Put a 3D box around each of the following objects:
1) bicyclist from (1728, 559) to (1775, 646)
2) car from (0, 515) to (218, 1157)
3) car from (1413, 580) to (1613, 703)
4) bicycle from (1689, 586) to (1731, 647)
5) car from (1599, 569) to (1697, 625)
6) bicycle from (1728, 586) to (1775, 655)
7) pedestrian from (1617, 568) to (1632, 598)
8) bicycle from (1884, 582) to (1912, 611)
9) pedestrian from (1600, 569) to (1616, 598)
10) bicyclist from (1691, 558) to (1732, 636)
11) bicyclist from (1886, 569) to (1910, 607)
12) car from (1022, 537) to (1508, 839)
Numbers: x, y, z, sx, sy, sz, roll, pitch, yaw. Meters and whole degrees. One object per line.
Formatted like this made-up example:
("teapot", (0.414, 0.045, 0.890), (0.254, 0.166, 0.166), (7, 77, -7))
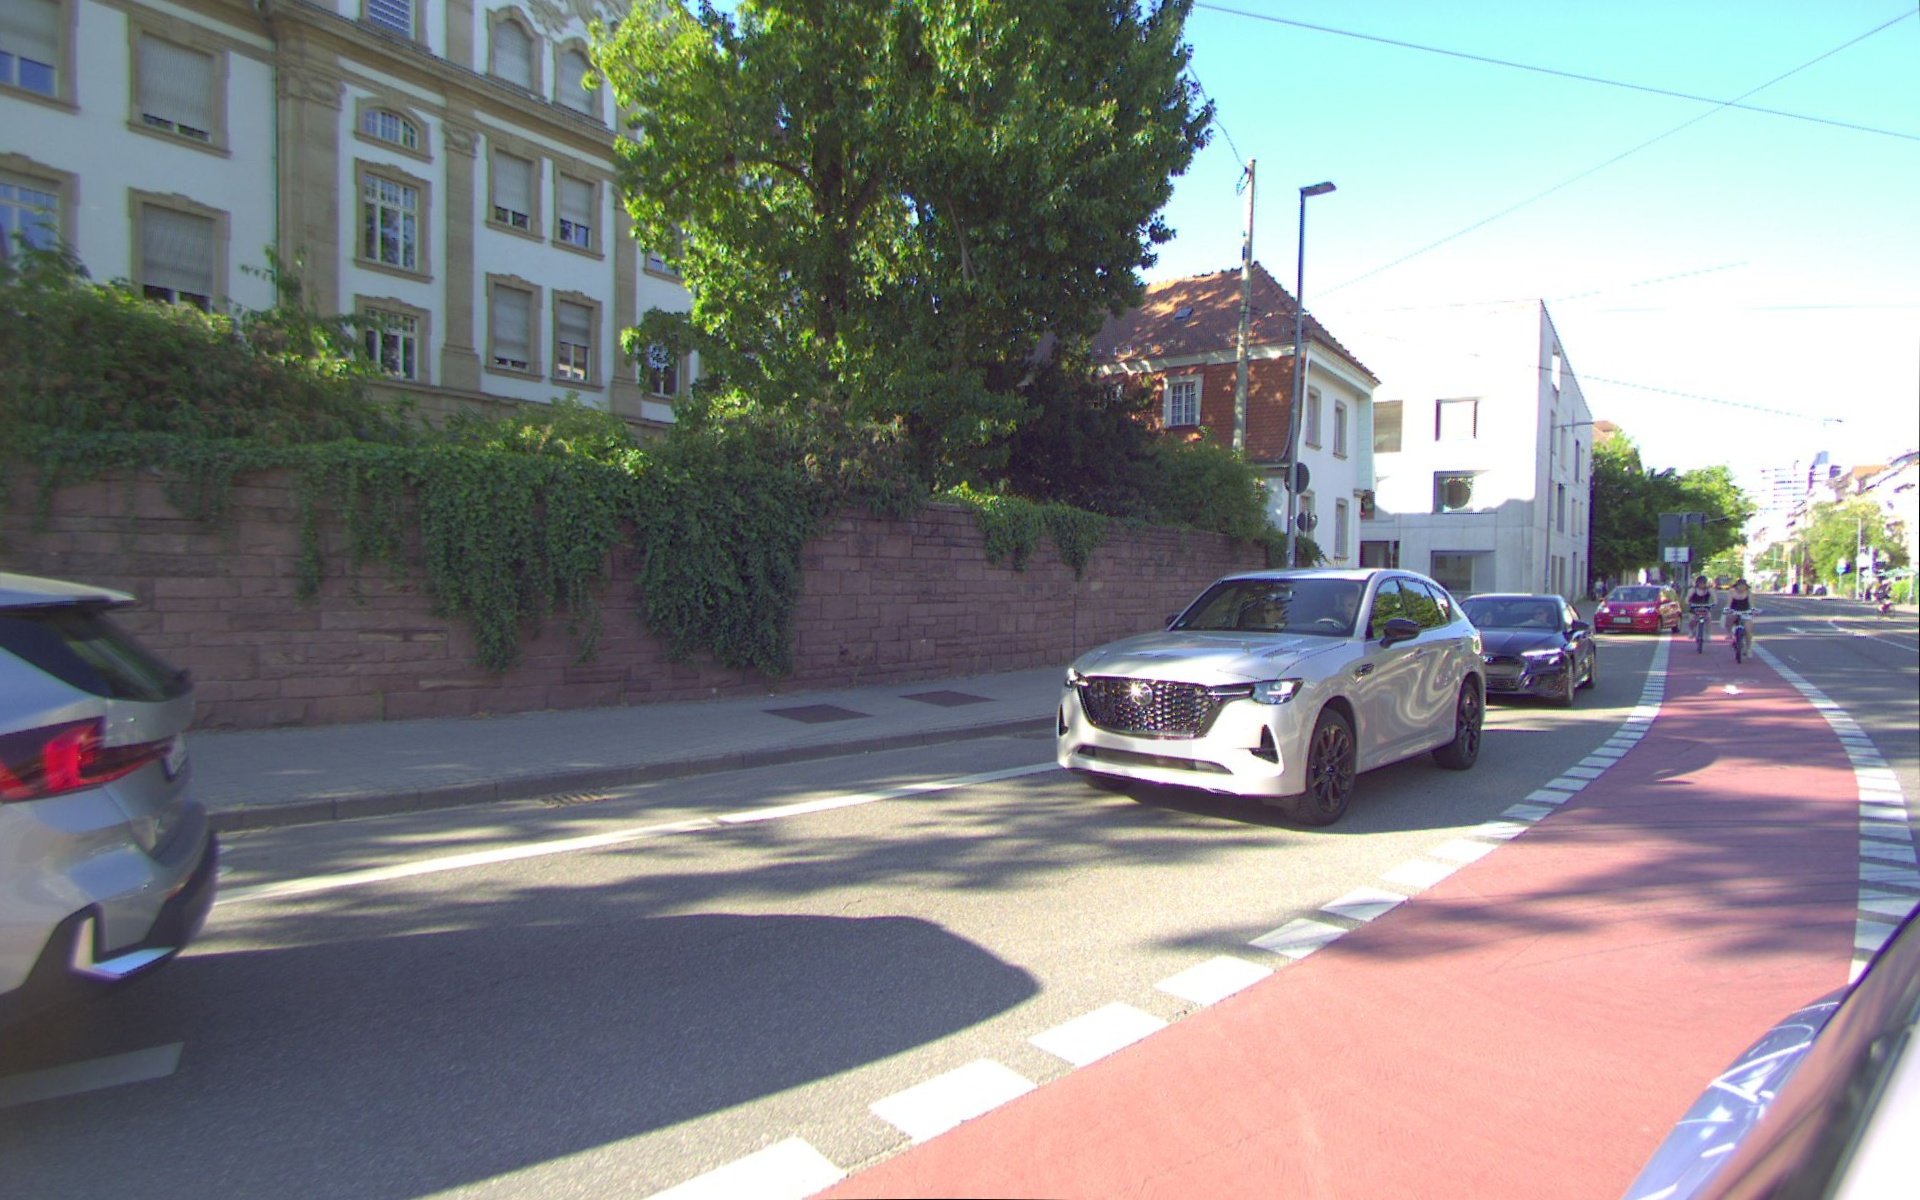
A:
("bicyclist", (15.678, 0.034, 20.058), (0.672, 1.667, 1.015), (2, 2, 38))
("car", (-4.354, 0.606, 2.290), (4.247, 1.614, 1.793), (-1, 0, -35))
("car", (7.755, 0.456, 14.024), (1.780, 1.451, 3.944), (0, 1, 39))
("bicycle", (16.681, 0.328, 22.478), (0.673, 1.265, 2.423), (2, 2, 38))
("car", (20.718, -0.101, 30.415), (3.588, 1.580, 1.647), (-1, 1, -42))
("bicycle", (15.674, 0.369, 20.057), (0.673, 1.265, 2.423), (2, 2, 38))
("pedestrian", (37.989, -0.966, 57.855), (0.672, 1.668, 0.806), (1, 1, 38))
("bicycle", (42.151, -0.183, 45.501), (0.673, 1.265, 2.423), (2, 2, 38))
("pedestrian", (37.292, -0.959, 58.239), (0.672, 1.668, 0.806), (1, 1, 38))
("bicyclist", (16.700, -0.079, 22.487), (0.672, 1.667, 1.015), (2, 2, 38))
("bicyclist", (42.184, -0.536, 45.523), (0.672, 1.667, 1.015), (2, 2, 38))
("car", (2.654, 0.465, 8.051), (1.940, 1.713, 4.461), (0, 1, 43))
